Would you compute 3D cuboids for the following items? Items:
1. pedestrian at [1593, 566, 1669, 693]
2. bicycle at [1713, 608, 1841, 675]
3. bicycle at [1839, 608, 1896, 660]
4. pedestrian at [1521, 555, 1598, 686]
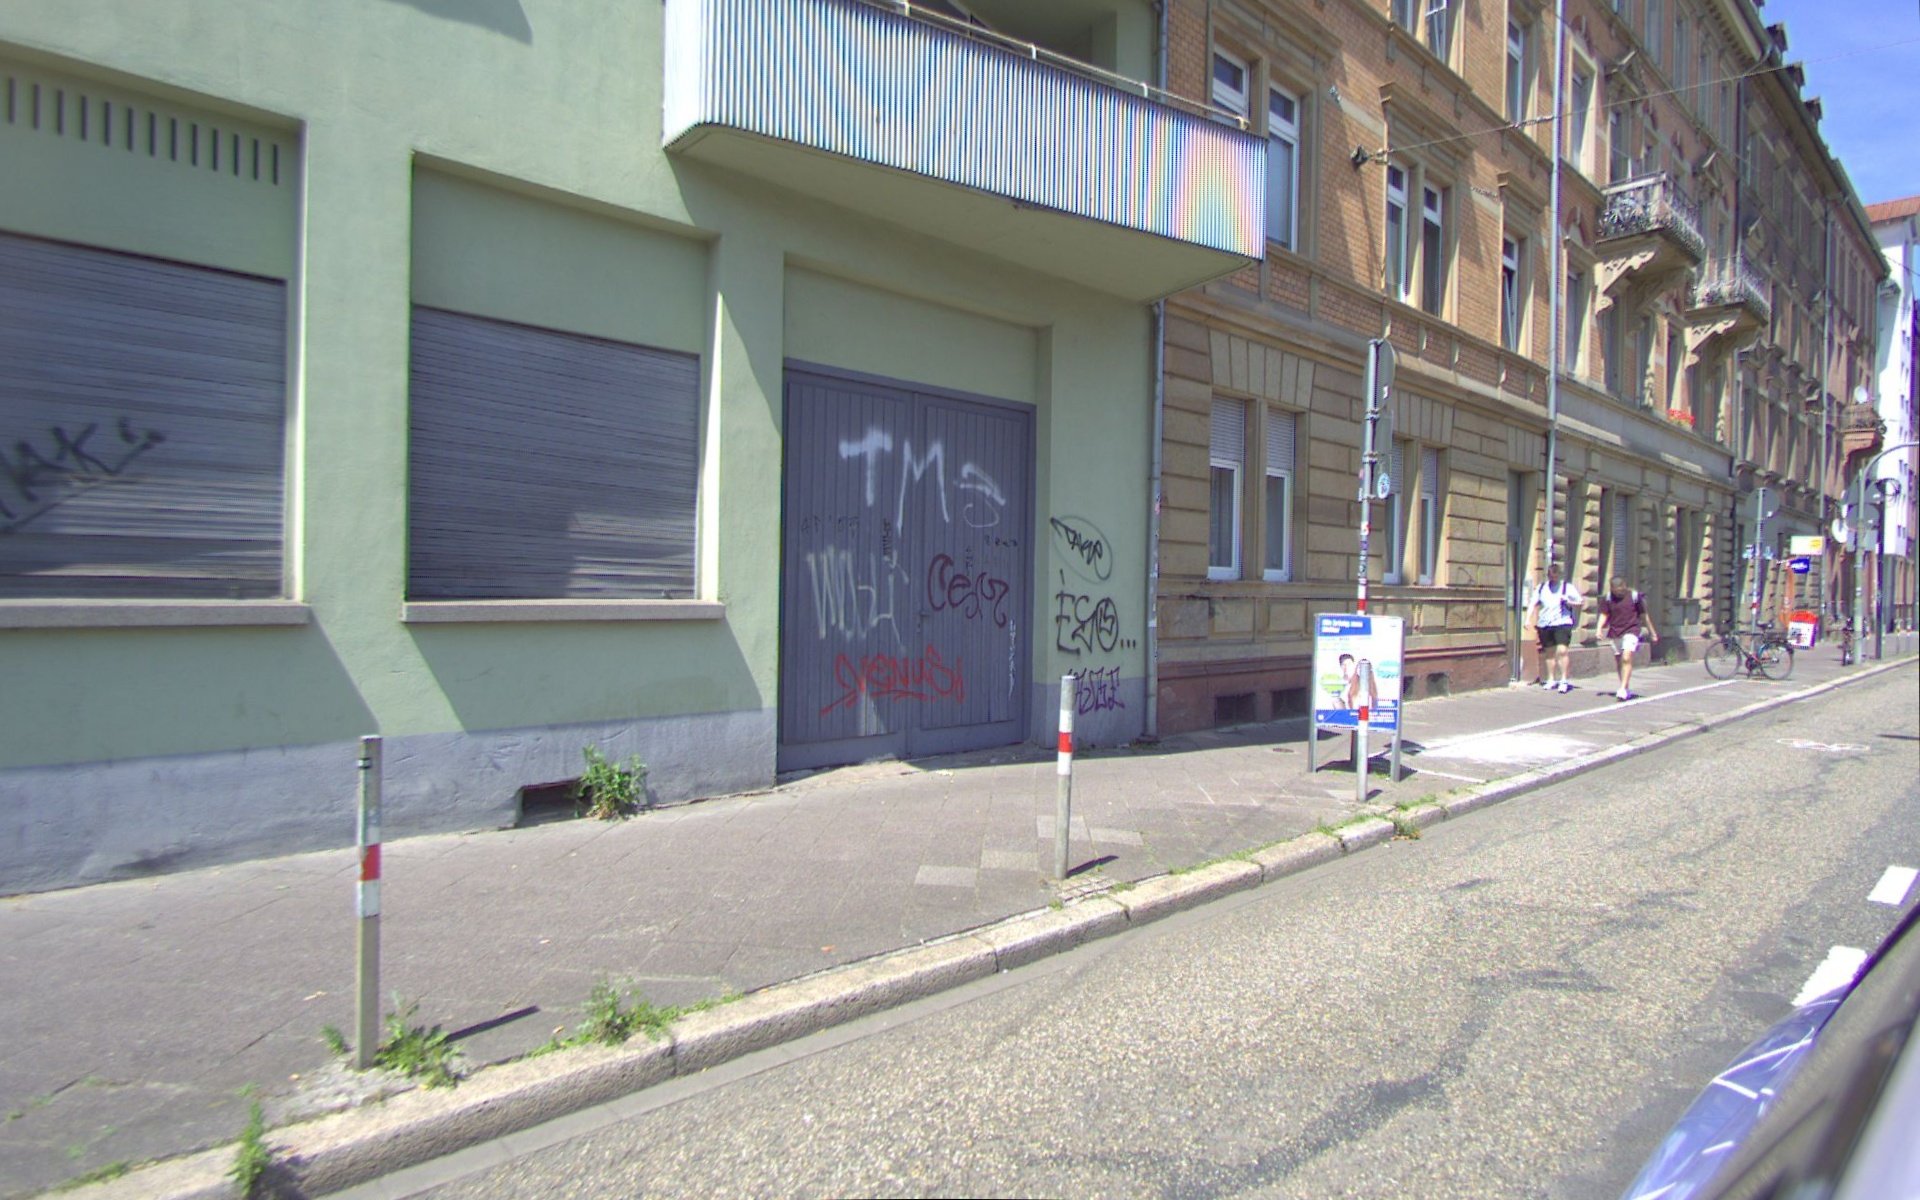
[{"bbox_3d":[9.532,0.391,14.382,0.632,1.741,0.722,0,1,-40],"label":"pedestrian"},{"bbox_3d":[14.637,0.742,18.131,2.196,1.144,0.501,1,1,-12],"label":"bicycle"},{"bbox_3d":[20.580,0.741,22.928,2.377,1.110,0.449,0,1,-36],"label":"bicycle"},{"bbox_3d":[9.000,0.293,15.201,0.632,1.871,0.704,0,4,-40],"label":"pedestrian"}]
